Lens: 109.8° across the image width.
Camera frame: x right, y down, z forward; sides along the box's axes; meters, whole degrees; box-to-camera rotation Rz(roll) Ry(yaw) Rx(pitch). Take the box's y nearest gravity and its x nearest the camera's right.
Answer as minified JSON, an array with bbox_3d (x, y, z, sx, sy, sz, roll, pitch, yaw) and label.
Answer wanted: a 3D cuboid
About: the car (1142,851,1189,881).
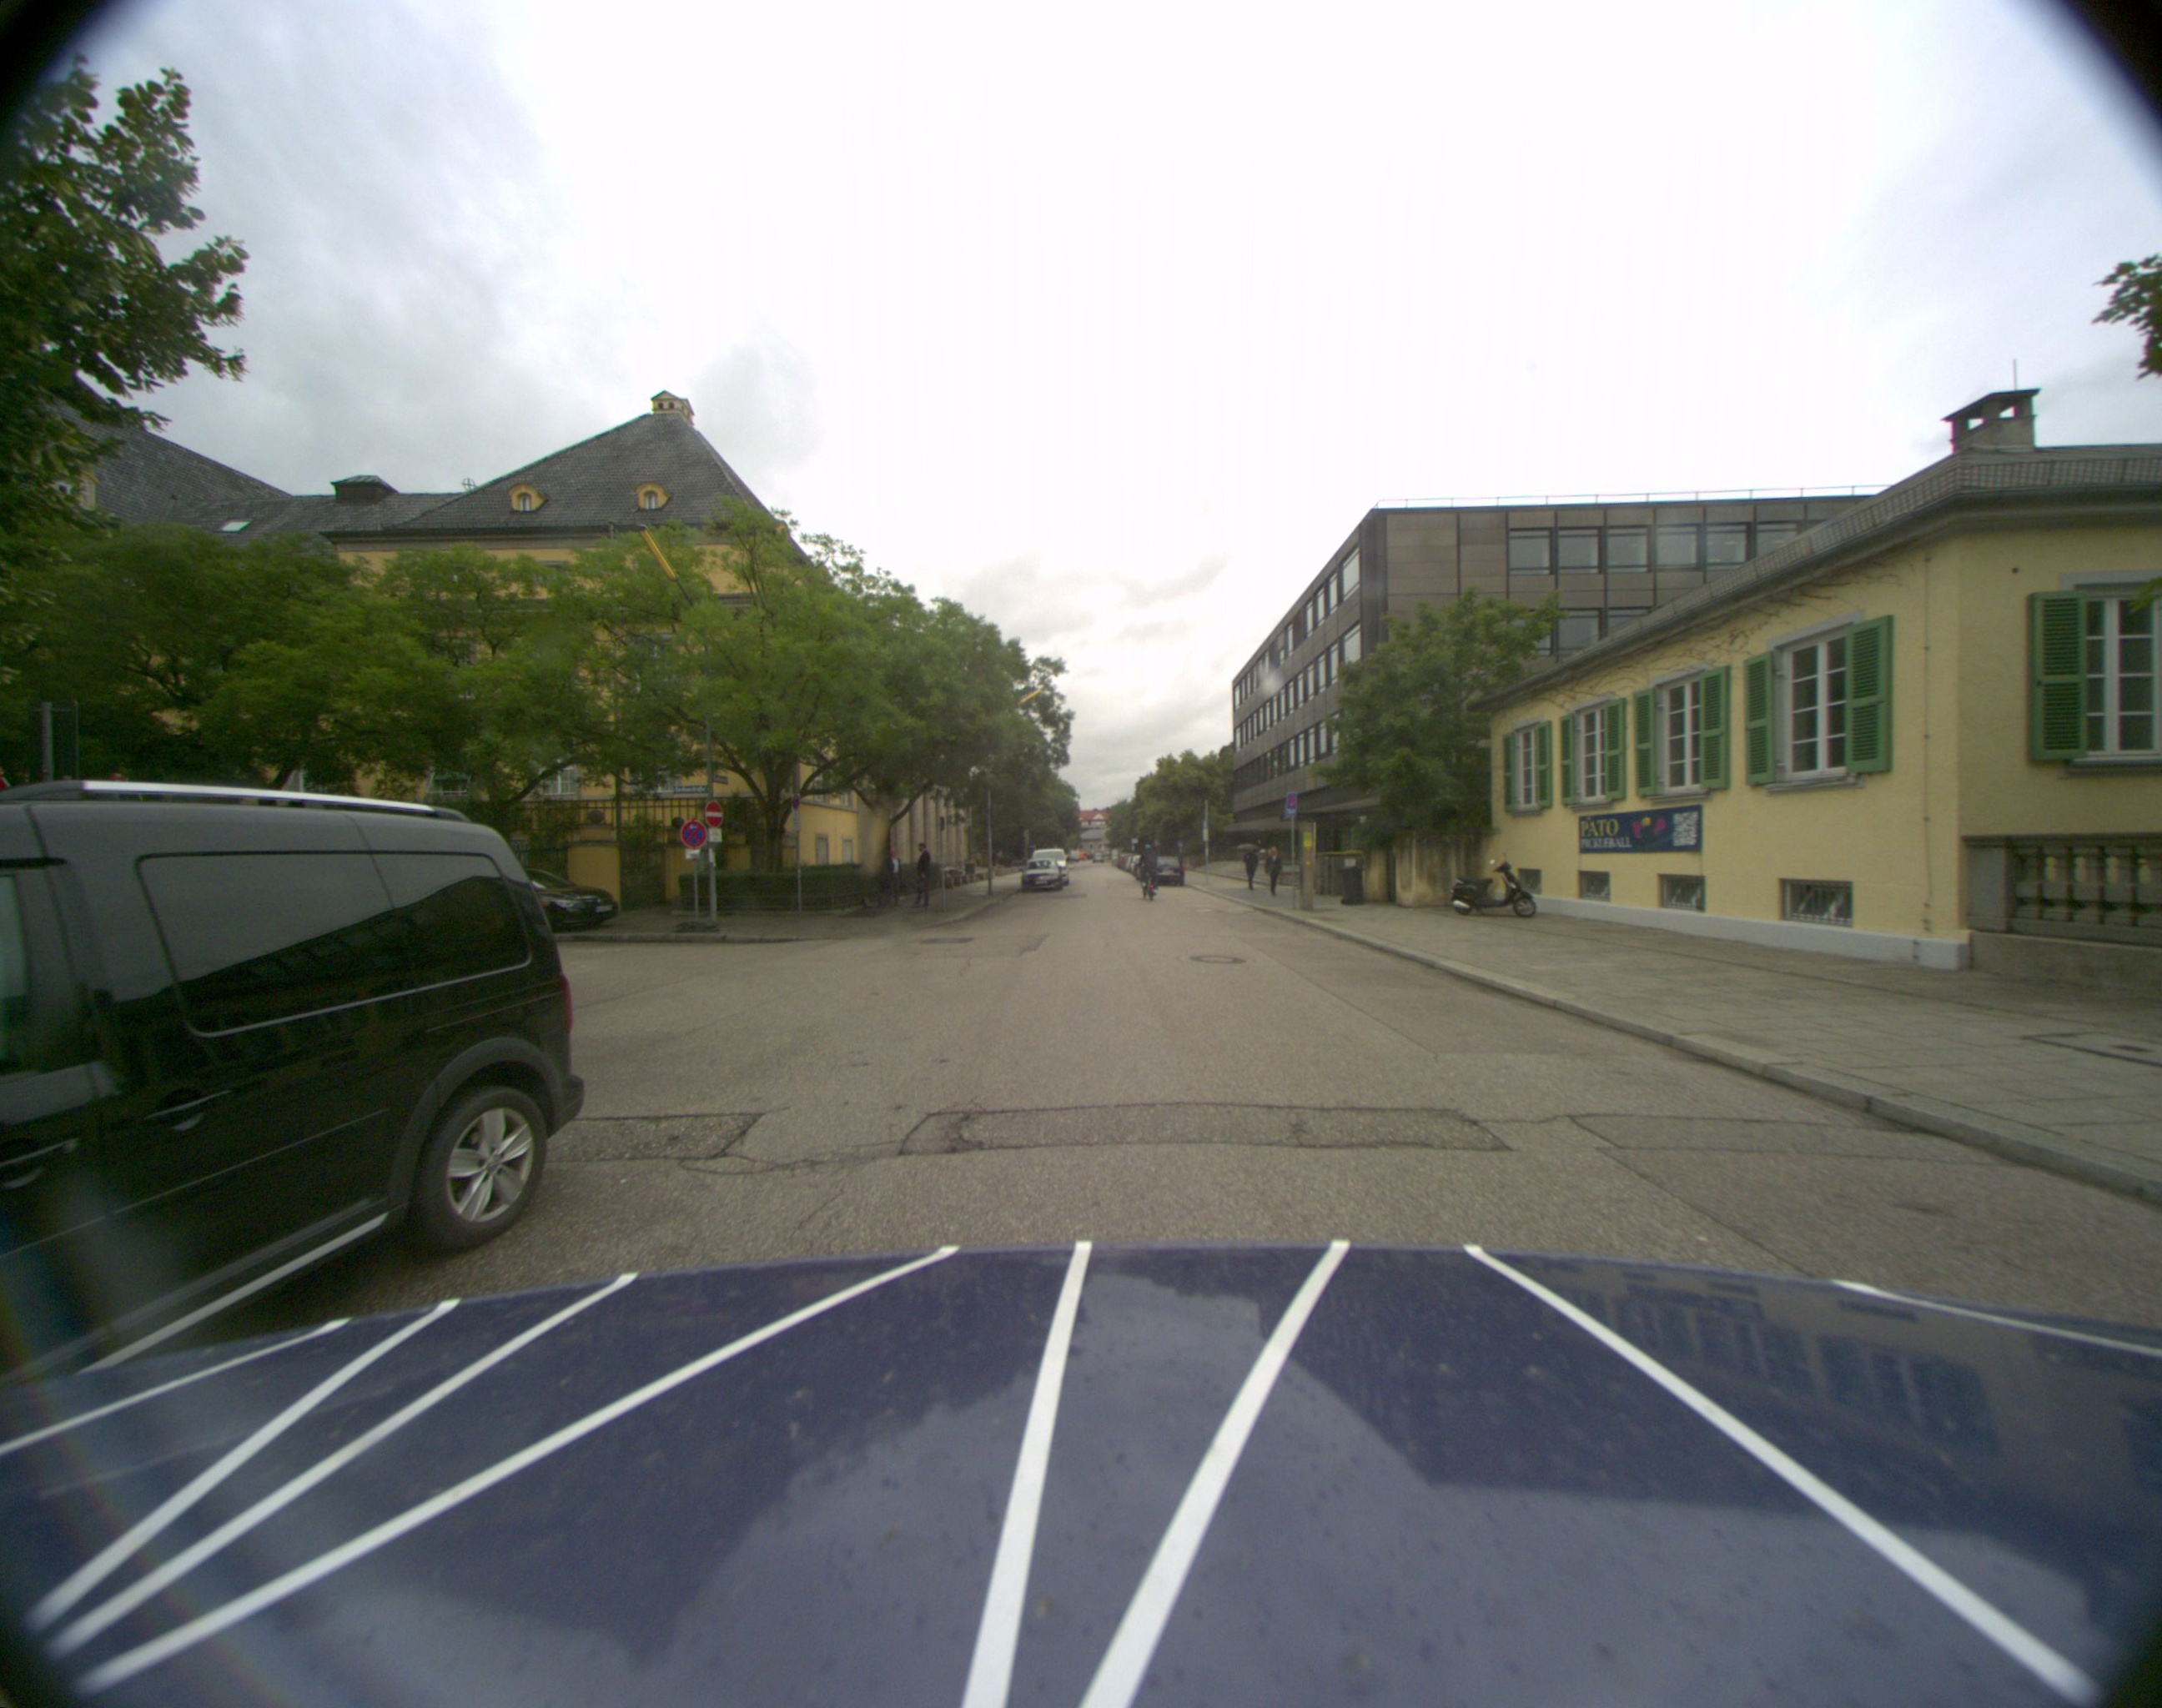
[{"bbox_3d":[4.198,0.556,38.349,1.929,1.391,4.486,0,0,1],"label":"car"}]

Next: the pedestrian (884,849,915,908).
[{"bbox_3d":[-5.552,0.731,23.207,0.701,1.749,0.684,-3,1,-28],"label":"pedestrian"}]

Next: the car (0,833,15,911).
[{"bbox_3d":[-31.274,0.592,19.460,5.659,2.053,2.001,-2,1,6],"label":"car"}]

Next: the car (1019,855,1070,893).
[{"bbox_3d":[-1.583,0.829,34.319,1.958,1.494,4.486,-2,0,1],"label":"car"}]

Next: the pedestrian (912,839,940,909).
[{"bbox_3d":[-4.608,0.575,22.550,0.690,2.002,0.894,-2,1,-14],"label":"pedestrian"}]

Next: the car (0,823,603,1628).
[{"bbox_3d":[-3.349,0.862,1.598,1.814,1.797,4.347,-2,0,1],"label":"car"}]

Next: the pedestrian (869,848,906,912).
[{"bbox_3d":[-5.599,0.737,21.981,0.691,1.775,0.893,-3,1,-33],"label":"pedestrian"}]

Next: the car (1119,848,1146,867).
[{"bbox_3d":[4.254,0.284,63.089,1.998,1.555,4.000,0,0,1],"label":"car"}]

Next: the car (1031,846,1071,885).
[{"bbox_3d":[-1.547,0.563,40.389,1.830,1.884,4.486,-2,0,1],"label":"car"}]

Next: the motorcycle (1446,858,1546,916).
[{"bbox_3d":[8.619,0.693,15.824,1.663,1.106,0.591,-3,2,45],"label":"motorcycle"}]

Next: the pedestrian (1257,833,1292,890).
[{"bbox_3d":[7.075,0.268,27.806,0.977,2.002,0.914,-2,1,1],"label":"pedestrian"}]

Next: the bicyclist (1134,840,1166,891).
[{"bbox_3d":[2.206,0.360,24.428,0.903,1.602,1.067,1,1,1],"label":"bicyclist"}]

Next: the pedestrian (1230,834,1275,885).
[{"bbox_3d":[7.093,0.225,31.501,1.479,2.002,1.501,-2,1,1],"label":"pedestrian"}]

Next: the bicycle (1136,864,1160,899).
[{"bbox_3d":[2.149,0.856,24.609,0.607,1.014,2.308,1,1,1],"label":"bicycle"}]

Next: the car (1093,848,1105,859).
[{"bbox_3d":[3.430,-0.198,146.606,1.999,2.002,3.999,-2,1,0],"label":"car"}]

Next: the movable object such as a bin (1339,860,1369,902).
[{"bbox_3d":[7.471,0.741,20.821,0.615,1.102,0.460,-2,1,1],"label":"movable object such as a bin"}]
